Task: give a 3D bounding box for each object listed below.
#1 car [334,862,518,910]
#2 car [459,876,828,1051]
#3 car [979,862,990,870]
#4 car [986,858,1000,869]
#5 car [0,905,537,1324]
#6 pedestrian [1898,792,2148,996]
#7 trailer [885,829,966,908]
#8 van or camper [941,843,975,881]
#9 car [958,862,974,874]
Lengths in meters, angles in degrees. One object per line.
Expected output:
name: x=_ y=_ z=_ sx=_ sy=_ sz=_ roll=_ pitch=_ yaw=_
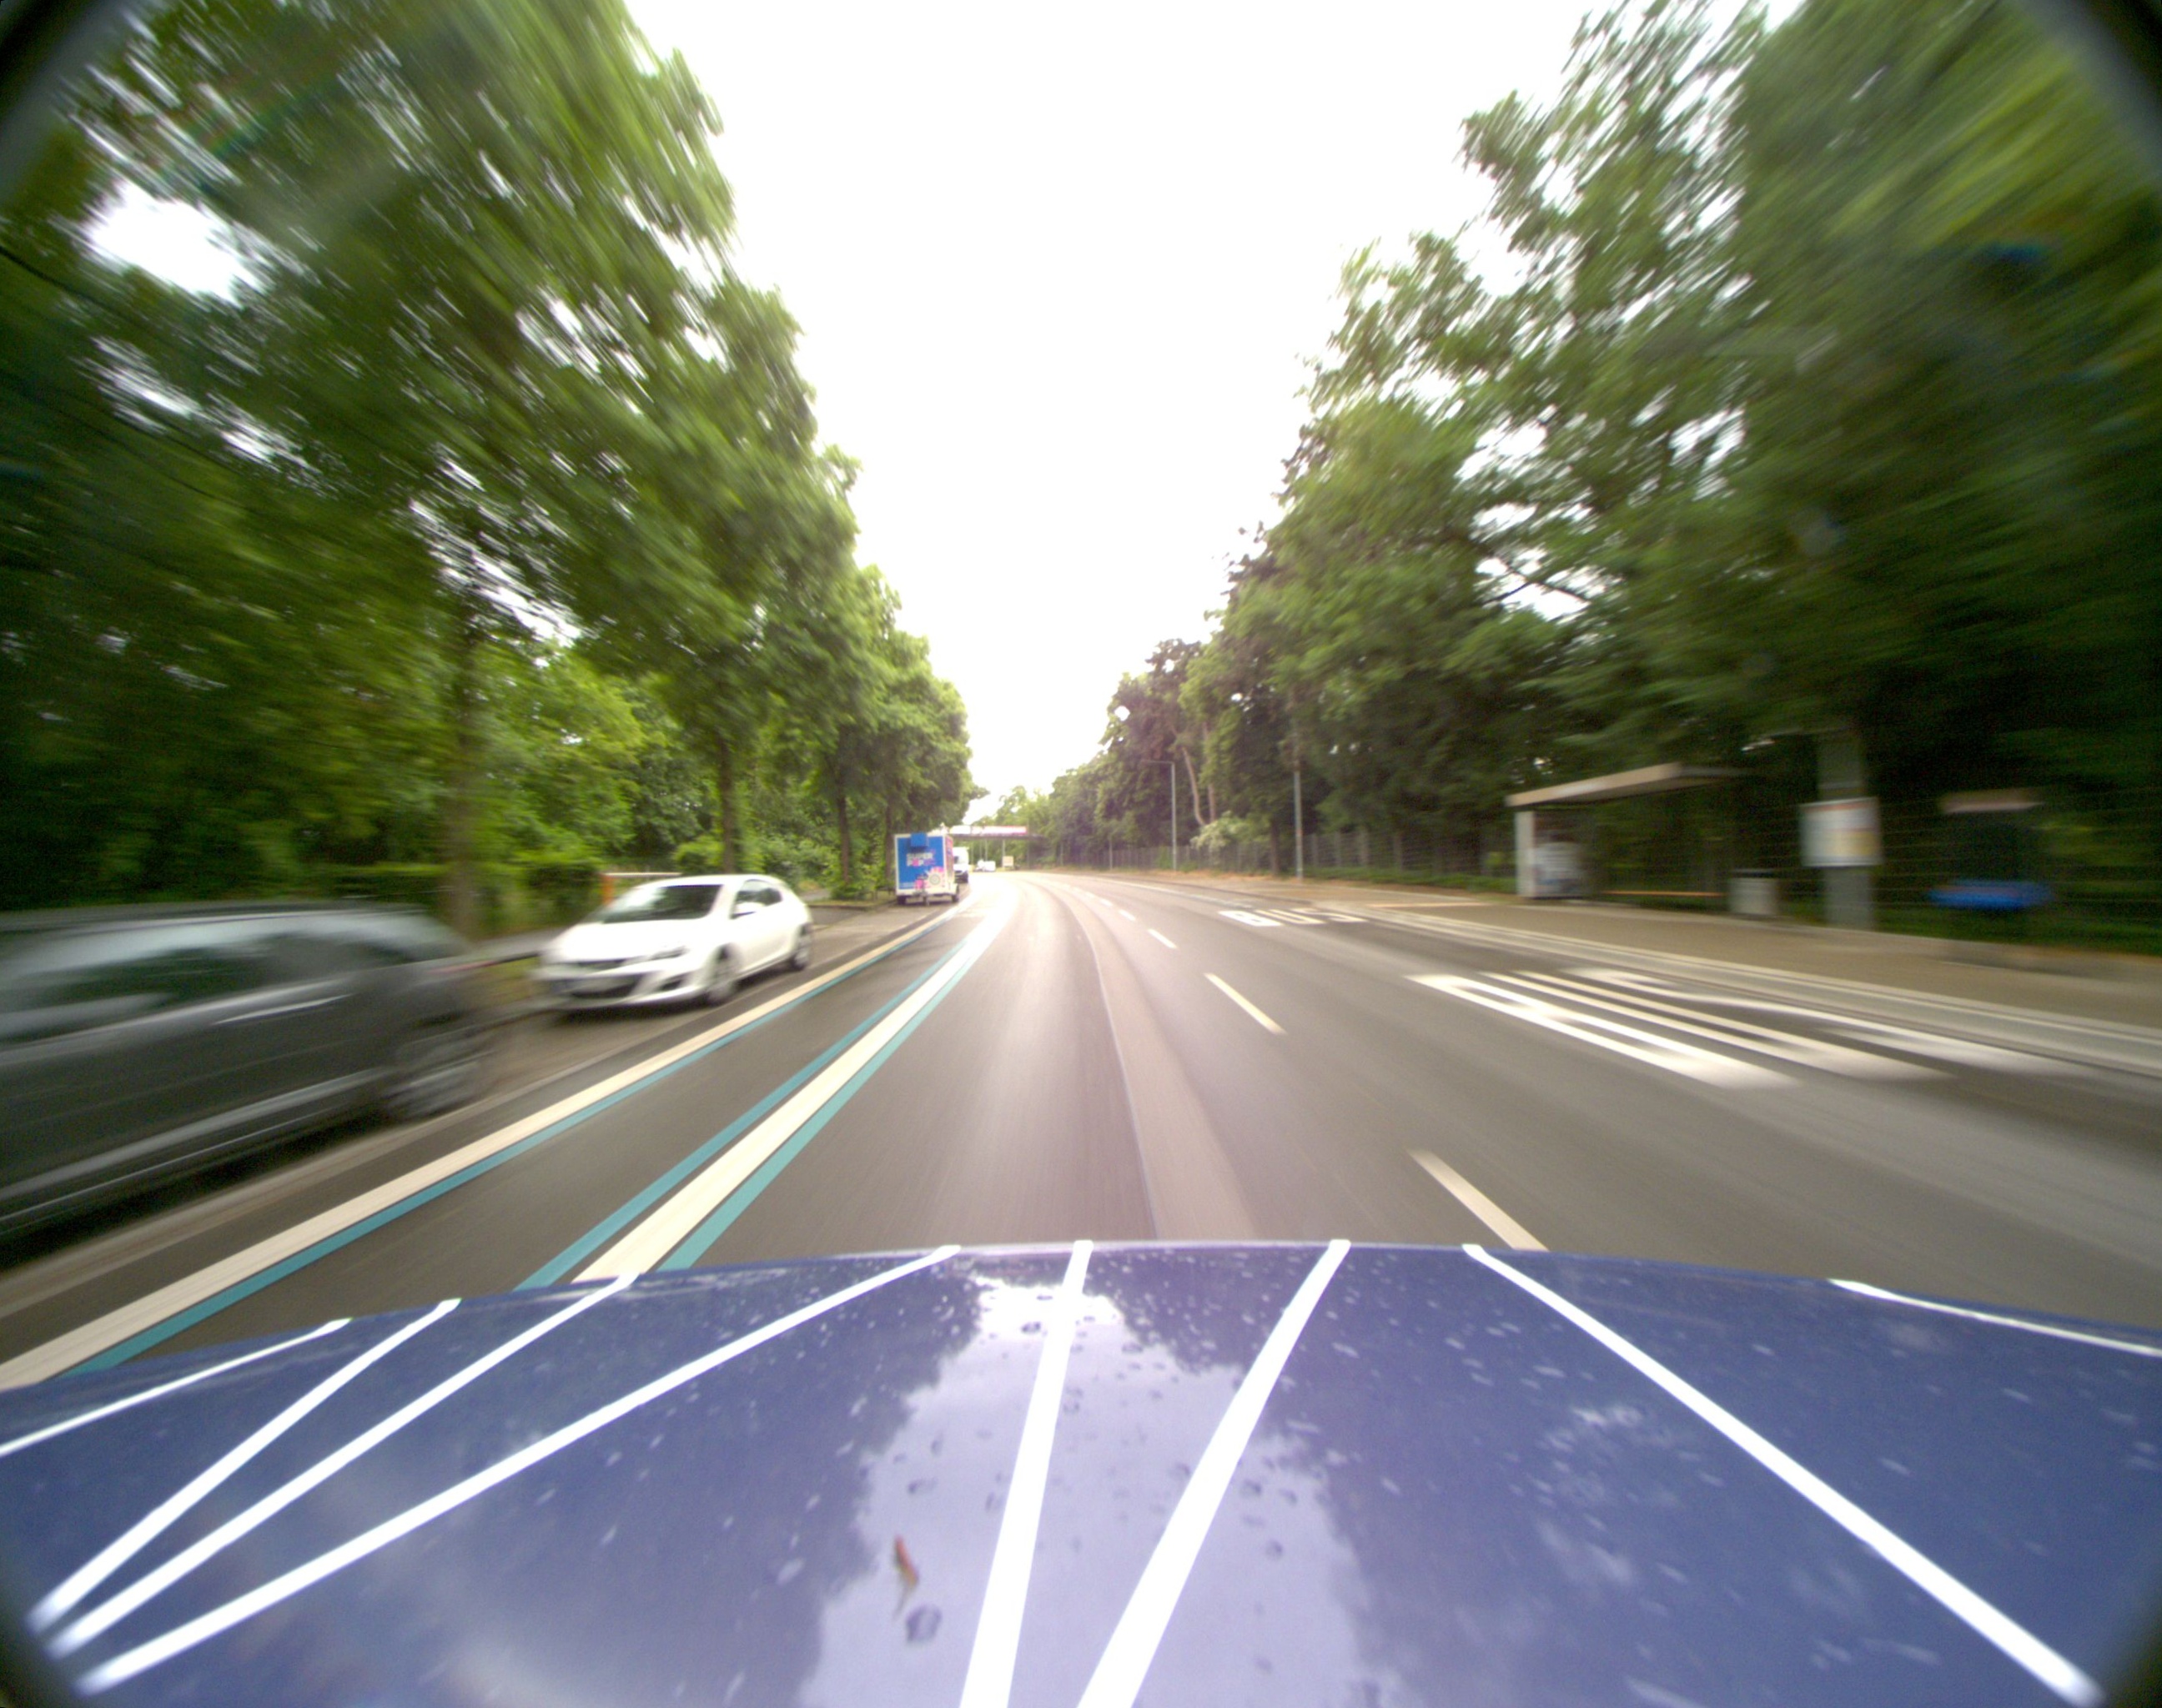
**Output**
car: x=-19.754 y=0.933 z=23.015 sx=4.144 sy=1.314 sz=1.891 roll=1 pitch=1 yaw=6
car: x=-4.934 y=1.112 z=9.551 sx=1.864 sy=1.419 sz=4.649 roll=-3 pitch=0 yaw=0
car: x=-19.261 y=2.469 z=151.282 sx=1.614 sy=1.436 sz=4.034 roll=0 pitch=-2 yaw=-15
car: x=-15.986 y=1.753 z=137.876 sx=1.986 sy=1.902 sz=5.223 roll=-1 pitch=-2 yaw=-13
car: x=-5.023 y=1.143 z=3.504 sx=1.687 sy=1.419 sz=4.318 roll=-3 pitch=0 yaw=3
pedestrian: x=8.734 y=0.340 z=7.115 sx=0.889 sy=1.723 sz=1.145 roll=-2 pitch=0 yaw=-5
trailer: x=-5.780 y=0.510 z=28.949 sx=2.323 sy=2.656 sz=5.373 roll=-2 pitch=0 yaw=-5
van or camper: x=-9.288 y=0.575 z=57.764 sx=2.324 sy=2.649 sz=6.377 roll=-2 pitch=0 yaw=-8
car: x=-16.189 y=1.966 z=106.861 sx=1.830 sy=1.453 sz=3.878 roll=-2 pitch=-1 yaw=-15
